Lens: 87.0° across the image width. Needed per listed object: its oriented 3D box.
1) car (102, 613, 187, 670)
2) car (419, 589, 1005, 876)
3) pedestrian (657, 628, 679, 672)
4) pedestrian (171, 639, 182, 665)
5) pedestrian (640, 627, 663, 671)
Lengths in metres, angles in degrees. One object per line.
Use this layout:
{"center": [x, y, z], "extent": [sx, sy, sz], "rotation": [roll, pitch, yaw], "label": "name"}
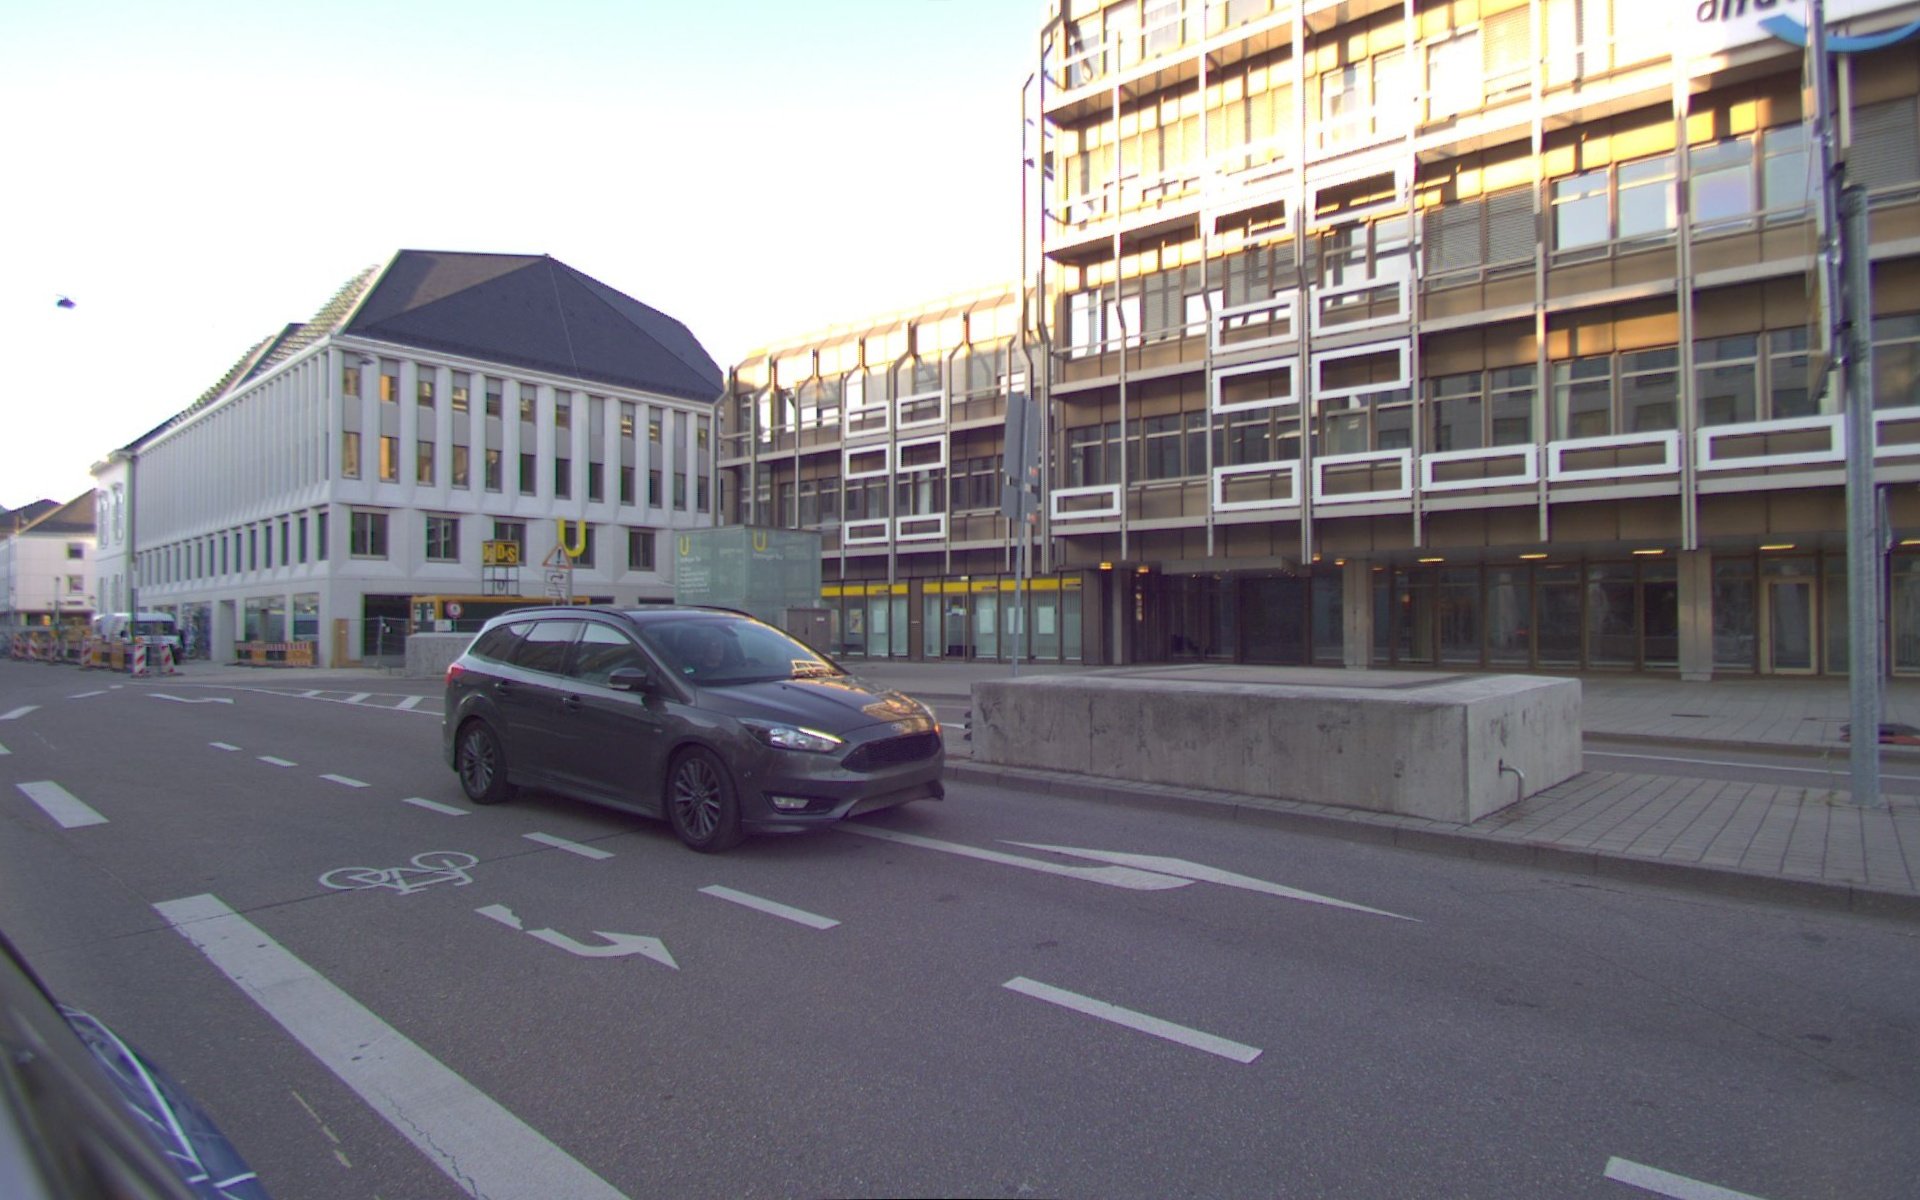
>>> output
{"center": [-38.839, 1.958, 48.159], "extent": [6.047, 2.575, 2.114], "rotation": [-2, -3, 41], "label": "car"}
{"center": [-1.973, 0.735, 7.260], "extent": [4.373, 1.473, 1.741], "rotation": [-2, -1, 38], "label": "car"}
{"center": [-10.195, 1.746, 35.374], "extent": [0.555, 1.508, 0.525], "rotation": [-2, -3, 41], "label": "pedestrian"}
{"center": [-39.424, 2.617, 50.918], "extent": [0.338, 1.326, 0.346], "rotation": [-2, -3, 41], "label": "pedestrian"}
{"center": [-10.598, 1.668, 34.755], "extent": [0.555, 1.508, 0.525], "rotation": [-2, -3, 41], "label": "pedestrian"}
